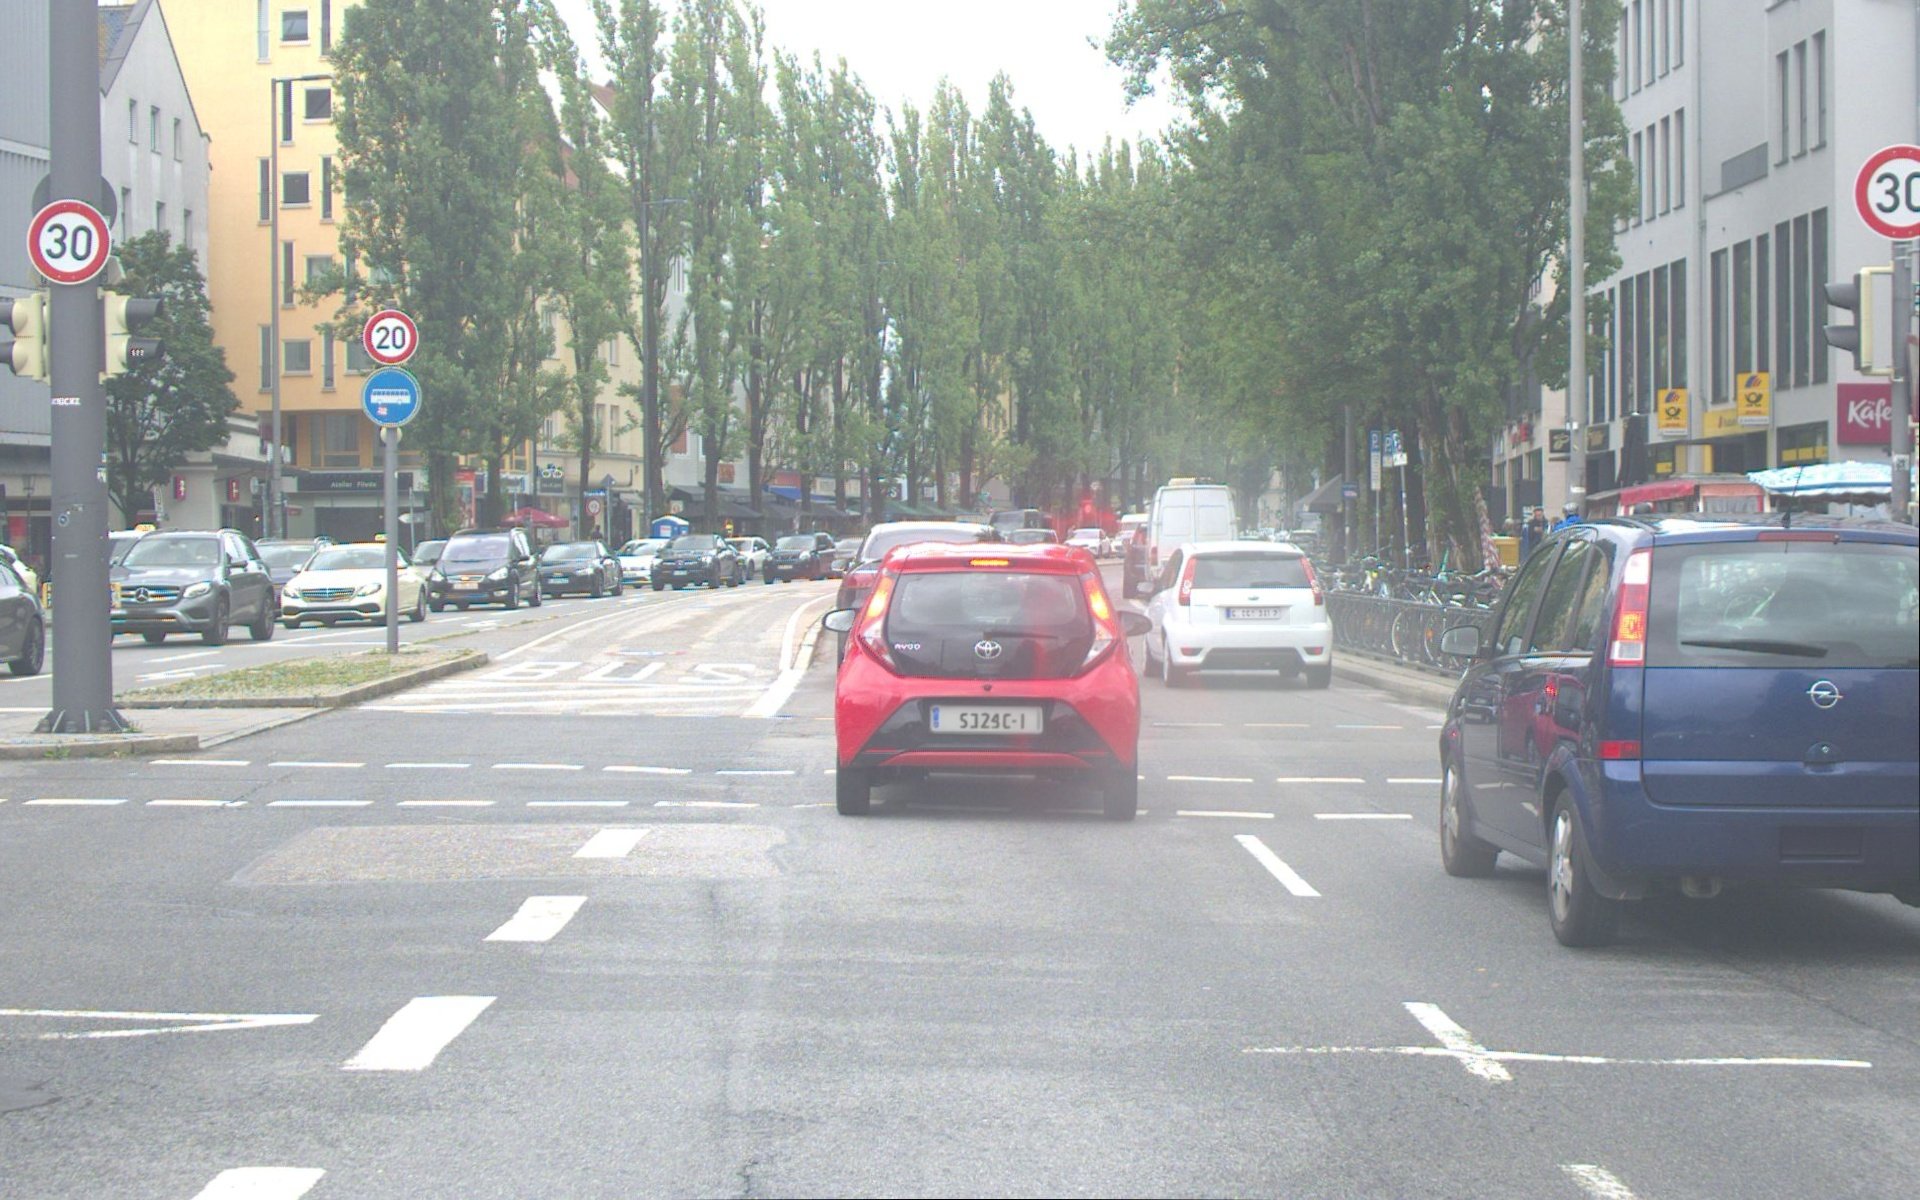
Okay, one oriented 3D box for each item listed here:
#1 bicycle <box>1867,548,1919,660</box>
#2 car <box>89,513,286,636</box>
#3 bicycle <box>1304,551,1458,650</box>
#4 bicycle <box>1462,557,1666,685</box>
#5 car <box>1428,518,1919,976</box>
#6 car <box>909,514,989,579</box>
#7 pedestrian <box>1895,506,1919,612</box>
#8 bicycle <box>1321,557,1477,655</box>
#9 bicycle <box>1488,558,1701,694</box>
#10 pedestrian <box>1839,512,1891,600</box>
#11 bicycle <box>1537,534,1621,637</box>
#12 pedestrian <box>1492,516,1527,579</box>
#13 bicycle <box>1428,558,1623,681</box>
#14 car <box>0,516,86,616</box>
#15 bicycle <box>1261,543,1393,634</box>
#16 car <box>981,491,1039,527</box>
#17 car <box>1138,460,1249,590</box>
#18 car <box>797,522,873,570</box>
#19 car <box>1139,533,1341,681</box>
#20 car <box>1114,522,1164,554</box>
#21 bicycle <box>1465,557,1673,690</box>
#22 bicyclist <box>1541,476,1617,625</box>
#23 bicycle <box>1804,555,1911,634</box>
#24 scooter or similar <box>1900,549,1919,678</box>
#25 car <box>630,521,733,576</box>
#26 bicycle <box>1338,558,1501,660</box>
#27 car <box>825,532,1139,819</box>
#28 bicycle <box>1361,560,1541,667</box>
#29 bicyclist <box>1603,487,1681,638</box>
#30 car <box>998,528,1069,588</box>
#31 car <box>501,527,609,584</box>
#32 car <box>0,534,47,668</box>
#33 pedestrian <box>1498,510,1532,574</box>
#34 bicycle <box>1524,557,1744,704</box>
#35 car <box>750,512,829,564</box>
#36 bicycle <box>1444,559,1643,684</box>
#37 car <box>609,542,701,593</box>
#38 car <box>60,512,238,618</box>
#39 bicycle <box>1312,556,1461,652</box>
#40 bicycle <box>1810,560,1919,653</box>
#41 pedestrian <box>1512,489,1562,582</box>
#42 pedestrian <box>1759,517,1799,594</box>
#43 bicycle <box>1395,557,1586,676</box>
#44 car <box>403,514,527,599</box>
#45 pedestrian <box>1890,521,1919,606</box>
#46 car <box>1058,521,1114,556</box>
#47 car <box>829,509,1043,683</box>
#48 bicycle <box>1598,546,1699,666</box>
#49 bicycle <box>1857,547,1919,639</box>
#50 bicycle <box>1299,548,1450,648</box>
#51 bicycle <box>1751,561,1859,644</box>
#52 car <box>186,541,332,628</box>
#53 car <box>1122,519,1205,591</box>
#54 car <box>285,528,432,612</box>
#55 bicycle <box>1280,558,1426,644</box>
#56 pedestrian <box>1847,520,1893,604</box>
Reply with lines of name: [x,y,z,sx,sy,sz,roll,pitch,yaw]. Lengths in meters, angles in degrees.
bicycle: [9.998,0.030,36.200,0.369,1.137,1.720,0,1,32]
car: [-11.033,-0.409,49.385,1.743,1.664,4.732,-1,1,0]
bicycle: [5.070,-0.004,41.485,1.836,1.164,0.585,1,2,42]
bicycle: [5.596,0.186,31.901,1.801,1.154,0.486,0,1,26]
car: [2.977,0.473,13.737,1.703,1.584,3.556,0,1,0]
car: [-0.261,-1.247,78.557,1.773,1.434,3.939,0,1,-1]
pedestrian: [13.927,-0.593,49.278,0.810,1.517,0.799,0,1,33]
bicycle: [5.122,0.056,40.157,1.803,1.107,0.585,1,2,42]
bicycle: [5.599,0.216,30.408,1.803,1.154,0.547,1,2,37]
pedestrian: [16.445,-0.805,62.482,0.732,1.596,0.742,0,1,0]
bicycle: [7.873,-0.204,43.842,0.614,1.260,2.520,-1,1,0]
pedestrian: [13.871,-1.329,86.719,0.764,1.588,0.676,0,1,0]
bicycle: [5.454,0.175,33.216,1.802,1.154,0.486,0,1,30]
car: [-16.792,-0.588,58.641,1.994,1.673,4.181,0,1,12]
bicycle: [5.095,-0.170,47.834,1.836,1.237,0.585,1,2,42]
car: [2.428,-4.417,167.264,1.994,1.686,4.411,0,1,12]
car: [5.044,-1.626,74.784,2.107,2.709,4.804,0,1,0]
car: [-4.447,-1.941,123.129,1.994,1.686,4.920,0,1,6]
car: [2.809,0.033,35.112,1.699,1.421,3.497,0,1,-1]
car: [9.462,-3.268,181.592,1.994,1.686,4.411,0,1,12]
bicycle: [5.501,0.199,31.091,1.803,1.154,0.547,1,2,37]
bicyclist: [7.890,-0.636,43.858,0.762,1.863,1.133,-1,1,0]
bicycle: [11.364,-0.076,43.541,1.243,0.978,0.369,-1,1,-3]
scooter or similar: [9.162,0.112,32.180,0.364,1.172,1.345,0,1,30]
car: [-7.979,-1.497,98.951,1.994,1.529,4.586,0,1,8]
bicycle: [5.168,0.087,38.730,1.803,1.107,0.561,1,2,41]
car: [0.120,0.356,19.259,1.605,1.456,3.130,1,1,0]
bicycle: [5.229,0.131,36.654,1.803,1.107,0.651,1,2,37]
bicyclist: [7.606,-0.429,38.379,0.614,1.652,1.251,-1,1,0]
car: [2.312,-1.316,107.161,1.994,1.831,3.999,0,1,5]
car: [-9.973,-1.116,84.927,1.845,1.378,4.600,0,1,4]
car: [-11.252,0.023,36.812,1.993,1.407,4.168,-1,1,-3]
pedestrian: [13.585,-1.416,84.104,0.713,1.553,0.676,0,1,0]
bicycle: [5.673,0.240,29.015,1.803,1.194,0.558,1,2,43]
car: [-5.649,-2.062,114.453,1.994,1.686,4.920,0,1,5]
bicycle: [5.520,0.192,32.561,1.802,1.154,0.486,0,1,29]
car: [-9.586,-1.047,108.488,1.994,1.529,4.464,0,1,7]
car: [-16.550,-0.755,70.426,1.994,2.006,5.523,-1,2,4]
bicycle: [5.059,0.040,40.822,1.803,1.107,0.490,1,2,42]
bicycle: [10.052,0.071,37.798,1.314,0.996,0.369,-1,1,1]
pedestrian: [10.886,-1.221,64.901,0.790,1.722,0.764,-1,1,0]
pedestrian: [15.049,-0.823,63.172,0.598,1.397,0.580,0,1,0]
bicycle: [5.330,0.154,34.593,1.803,1.154,0.651,1,2,35]
car: [-10.444,-0.945,72.768,1.936,1.733,4.588,0,1,0]
pedestrian: [15.936,-0.614,57.535,0.574,1.397,0.580,0,1,0]
car: [6.219,-3.016,168.686,1.994,1.686,4.411,0,1,12]
car: [-0.265,-0.077,34.156,1.993,1.612,4.000,0,1,-1]
bicycle: [7.637,0.040,38.215,0.614,1.260,2.520,-1,1,0]
bicycle: [11.504,-0.091,41.041,1.500,1.071,0.369,-1,1,-7]
bicycle: [5.089,-0.038,42.267,1.836,1.193,0.585,1,2,42]
bicycle: [10.034,0.027,40.819,1.181,0.960,0.369,-1,1,-2]
car: [-13.713,-0.333,67.472,1.839,1.608,4.258,0,1,2]
car: [4.765,-1.067,80.753,1.703,1.657,3.556,0,1,0]
car: [-10.562,-0.557,60.648,1.765,1.417,4.639,0,1,0]
bicycle: [4.985,0.002,43.675,1.836,1.048,0.585,1,2,42]
pedestrian: [15.232,-0.633,57.559,0.598,1.397,0.580,0,1,0]
